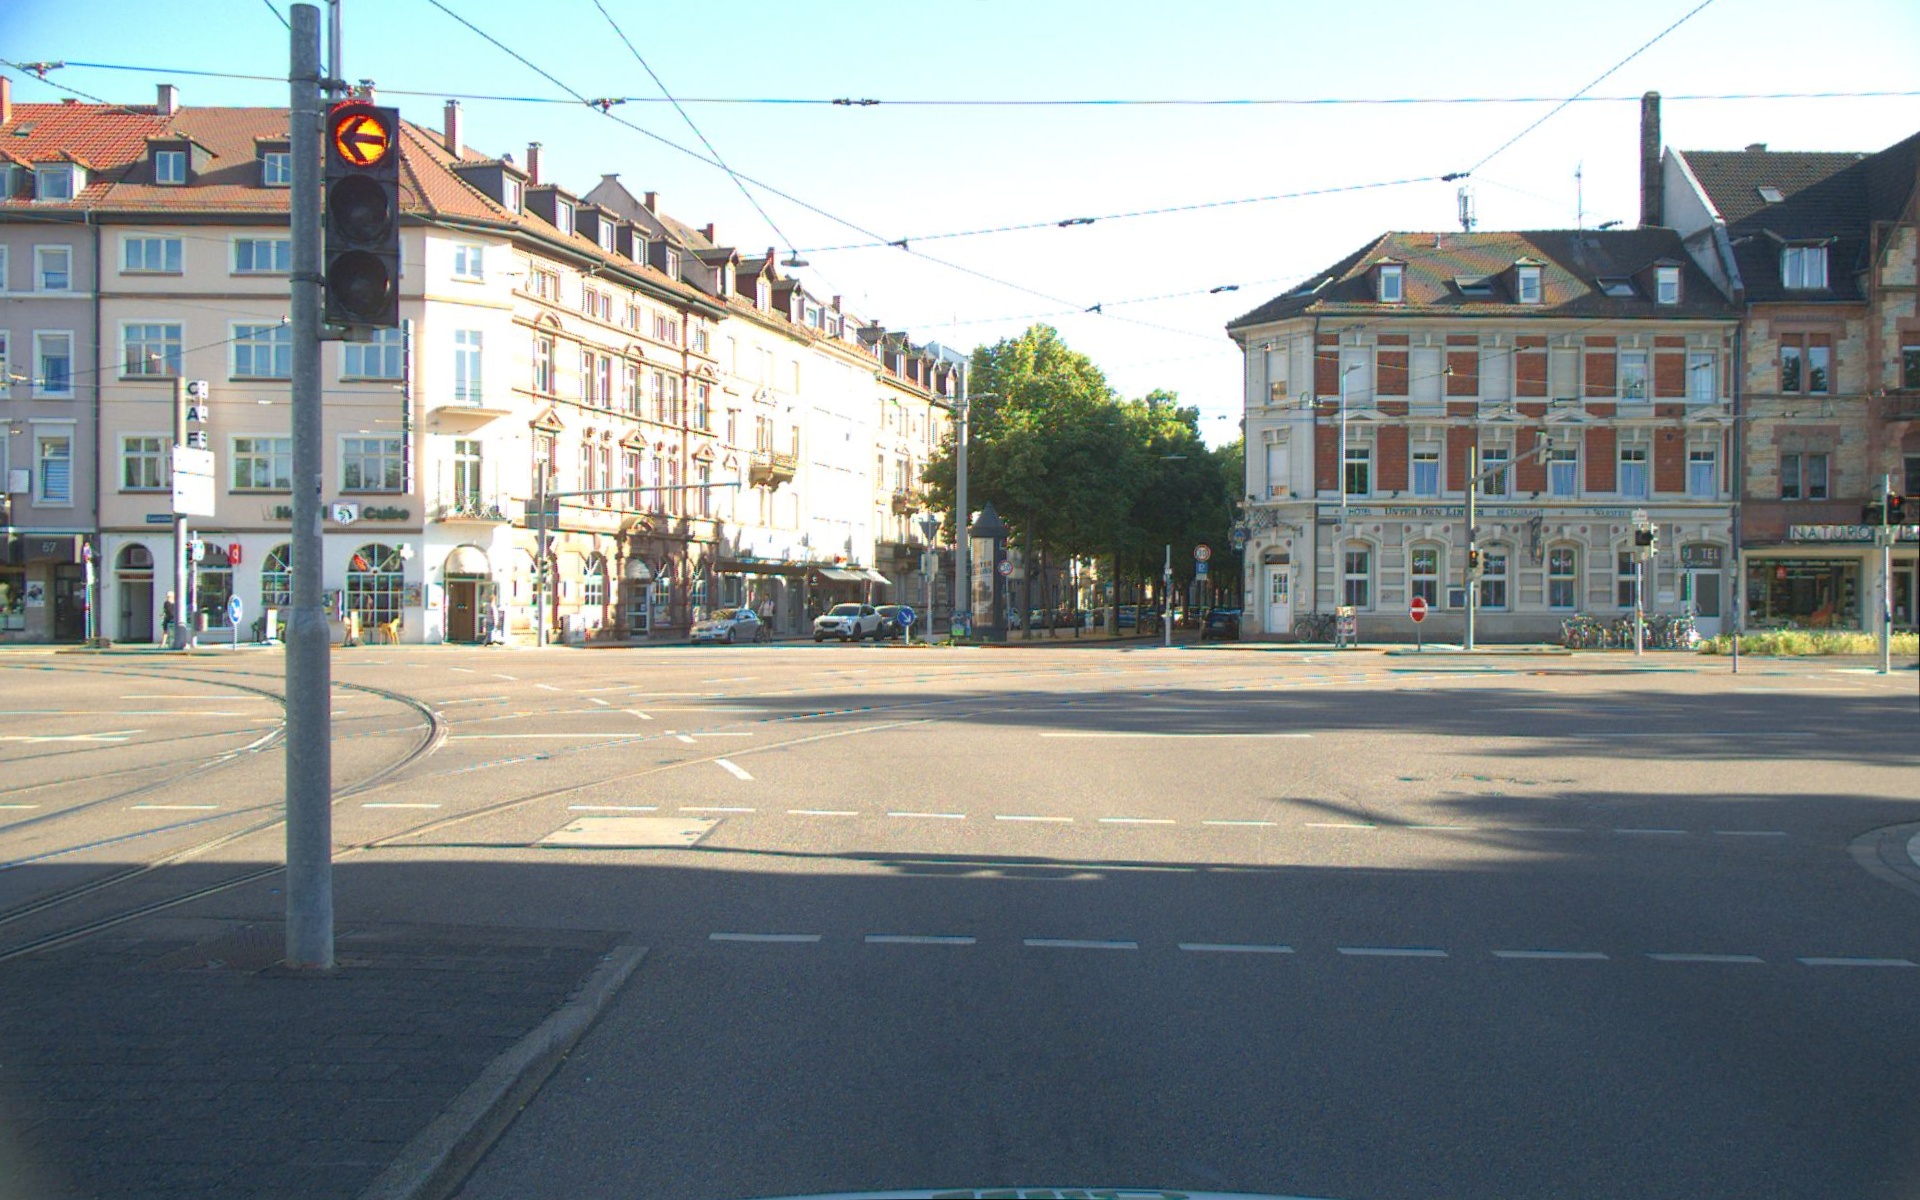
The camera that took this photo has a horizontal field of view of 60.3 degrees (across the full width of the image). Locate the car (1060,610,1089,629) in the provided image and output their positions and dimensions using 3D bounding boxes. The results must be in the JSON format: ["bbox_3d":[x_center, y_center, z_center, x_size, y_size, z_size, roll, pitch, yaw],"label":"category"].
[{"bbox_3d":[9.430,1.588,136.492,1.704,1.422,4.127,3,0,13],"label":"car"}]

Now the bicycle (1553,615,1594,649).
[{"bbox_3d":[19.827,1.031,53.500,0.593,1.069,1.641,0,0,-6],"label":"bicycle"}]

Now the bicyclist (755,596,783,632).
[{"bbox_3d":[-7.557,0.549,65.455,0.776,1.399,1.109,0,0,14],"label":"bicyclist"}]

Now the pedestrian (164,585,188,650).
[{"bbox_3d":[-24.665,0.543,52.027,0.498,2.049,0.505,0,0,2],"label":"pedestrian"}]

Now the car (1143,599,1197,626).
[{"bbox_3d":[16.966,1.027,133.653,4.026,1.952,1.746,3,0,21],"label":"car"}]

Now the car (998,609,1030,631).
[{"bbox_3d":[3.810,1.369,115.830,1.704,1.422,4.127,3,0,9],"label":"car"}]

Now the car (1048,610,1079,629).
[{"bbox_3d":[8.252,1.551,131.696,1.704,1.422,4.127,3,0,13],"label":"car"}]

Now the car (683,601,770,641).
[{"bbox_3d":[-9.448,0.818,67.211,2.052,1.572,4.367,0,0,13],"label":"car"}]

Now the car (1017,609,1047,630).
[{"bbox_3d":[5.342,1.426,122.829,1.704,1.422,4.127,3,0,9],"label":"car"}]

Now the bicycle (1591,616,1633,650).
[{"bbox_3d":[21.119,1.053,53.582,0.593,1.069,1.641,0,0,-6],"label":"bicycle"}]

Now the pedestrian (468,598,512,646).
[{"bbox_3d":[-16.147,0.738,56.821,1.020,1.618,1.066,0,0,31],"label":"pedestrian"}]

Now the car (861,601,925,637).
[{"bbox_3d":[-2.956,0.804,73.463,1.951,1.540,4.004,0,0,11],"label":"car"}]

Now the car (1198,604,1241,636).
[{"bbox_3d":[12.978,1.011,82.455,1.616,1.551,3.755,0,-1,17],"label":"car"}]

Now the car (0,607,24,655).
[{"bbox_3d":[-32.061,1.002,52.148,3.910,1.489,1.998,-1,1,-6],"label":"car"}]

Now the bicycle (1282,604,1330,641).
[{"bbox_3d":[11.978,0.770,57.291,1.603,1.243,0.607,0,0,16],"label":"bicycle"}]

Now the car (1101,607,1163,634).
[{"bbox_3d":[12.011,1.414,115.373,4.024,1.675,1.748,3,0,15],"label":"car"}]

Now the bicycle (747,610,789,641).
[{"bbox_3d":[-7.571,1.000,65.485,0.734,1.155,2.812,0,0,14],"label":"bicycle"}]

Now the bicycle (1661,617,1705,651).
[{"bbox_3d":[23.332,1.091,53.411,0.593,1.069,1.641,0,0,-6],"label":"bicycle"}]

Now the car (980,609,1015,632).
[{"bbox_3d":[2.533,1.321,110.006,1.704,1.422,4.127,3,0,9],"label":"car"}]

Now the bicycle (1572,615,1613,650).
[{"bbox_3d":[20.467,1.042,53.556,0.593,1.069,1.641,0,0,-6],"label":"bicycle"}]

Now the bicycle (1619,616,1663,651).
[{"bbox_3d":[21.945,1.067,53.314,0.593,1.069,1.641,0,0,-6],"label":"bicycle"}]

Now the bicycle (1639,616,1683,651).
[{"bbox_3d":[22.606,1.078,53.390,0.593,1.069,1.641,0,0,-6],"label":"bicycle"}]

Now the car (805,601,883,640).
[{"bbox_3d":[-4.648,0.796,67.070,2.052,1.525,4.003,0,0,13],"label":"car"}]
